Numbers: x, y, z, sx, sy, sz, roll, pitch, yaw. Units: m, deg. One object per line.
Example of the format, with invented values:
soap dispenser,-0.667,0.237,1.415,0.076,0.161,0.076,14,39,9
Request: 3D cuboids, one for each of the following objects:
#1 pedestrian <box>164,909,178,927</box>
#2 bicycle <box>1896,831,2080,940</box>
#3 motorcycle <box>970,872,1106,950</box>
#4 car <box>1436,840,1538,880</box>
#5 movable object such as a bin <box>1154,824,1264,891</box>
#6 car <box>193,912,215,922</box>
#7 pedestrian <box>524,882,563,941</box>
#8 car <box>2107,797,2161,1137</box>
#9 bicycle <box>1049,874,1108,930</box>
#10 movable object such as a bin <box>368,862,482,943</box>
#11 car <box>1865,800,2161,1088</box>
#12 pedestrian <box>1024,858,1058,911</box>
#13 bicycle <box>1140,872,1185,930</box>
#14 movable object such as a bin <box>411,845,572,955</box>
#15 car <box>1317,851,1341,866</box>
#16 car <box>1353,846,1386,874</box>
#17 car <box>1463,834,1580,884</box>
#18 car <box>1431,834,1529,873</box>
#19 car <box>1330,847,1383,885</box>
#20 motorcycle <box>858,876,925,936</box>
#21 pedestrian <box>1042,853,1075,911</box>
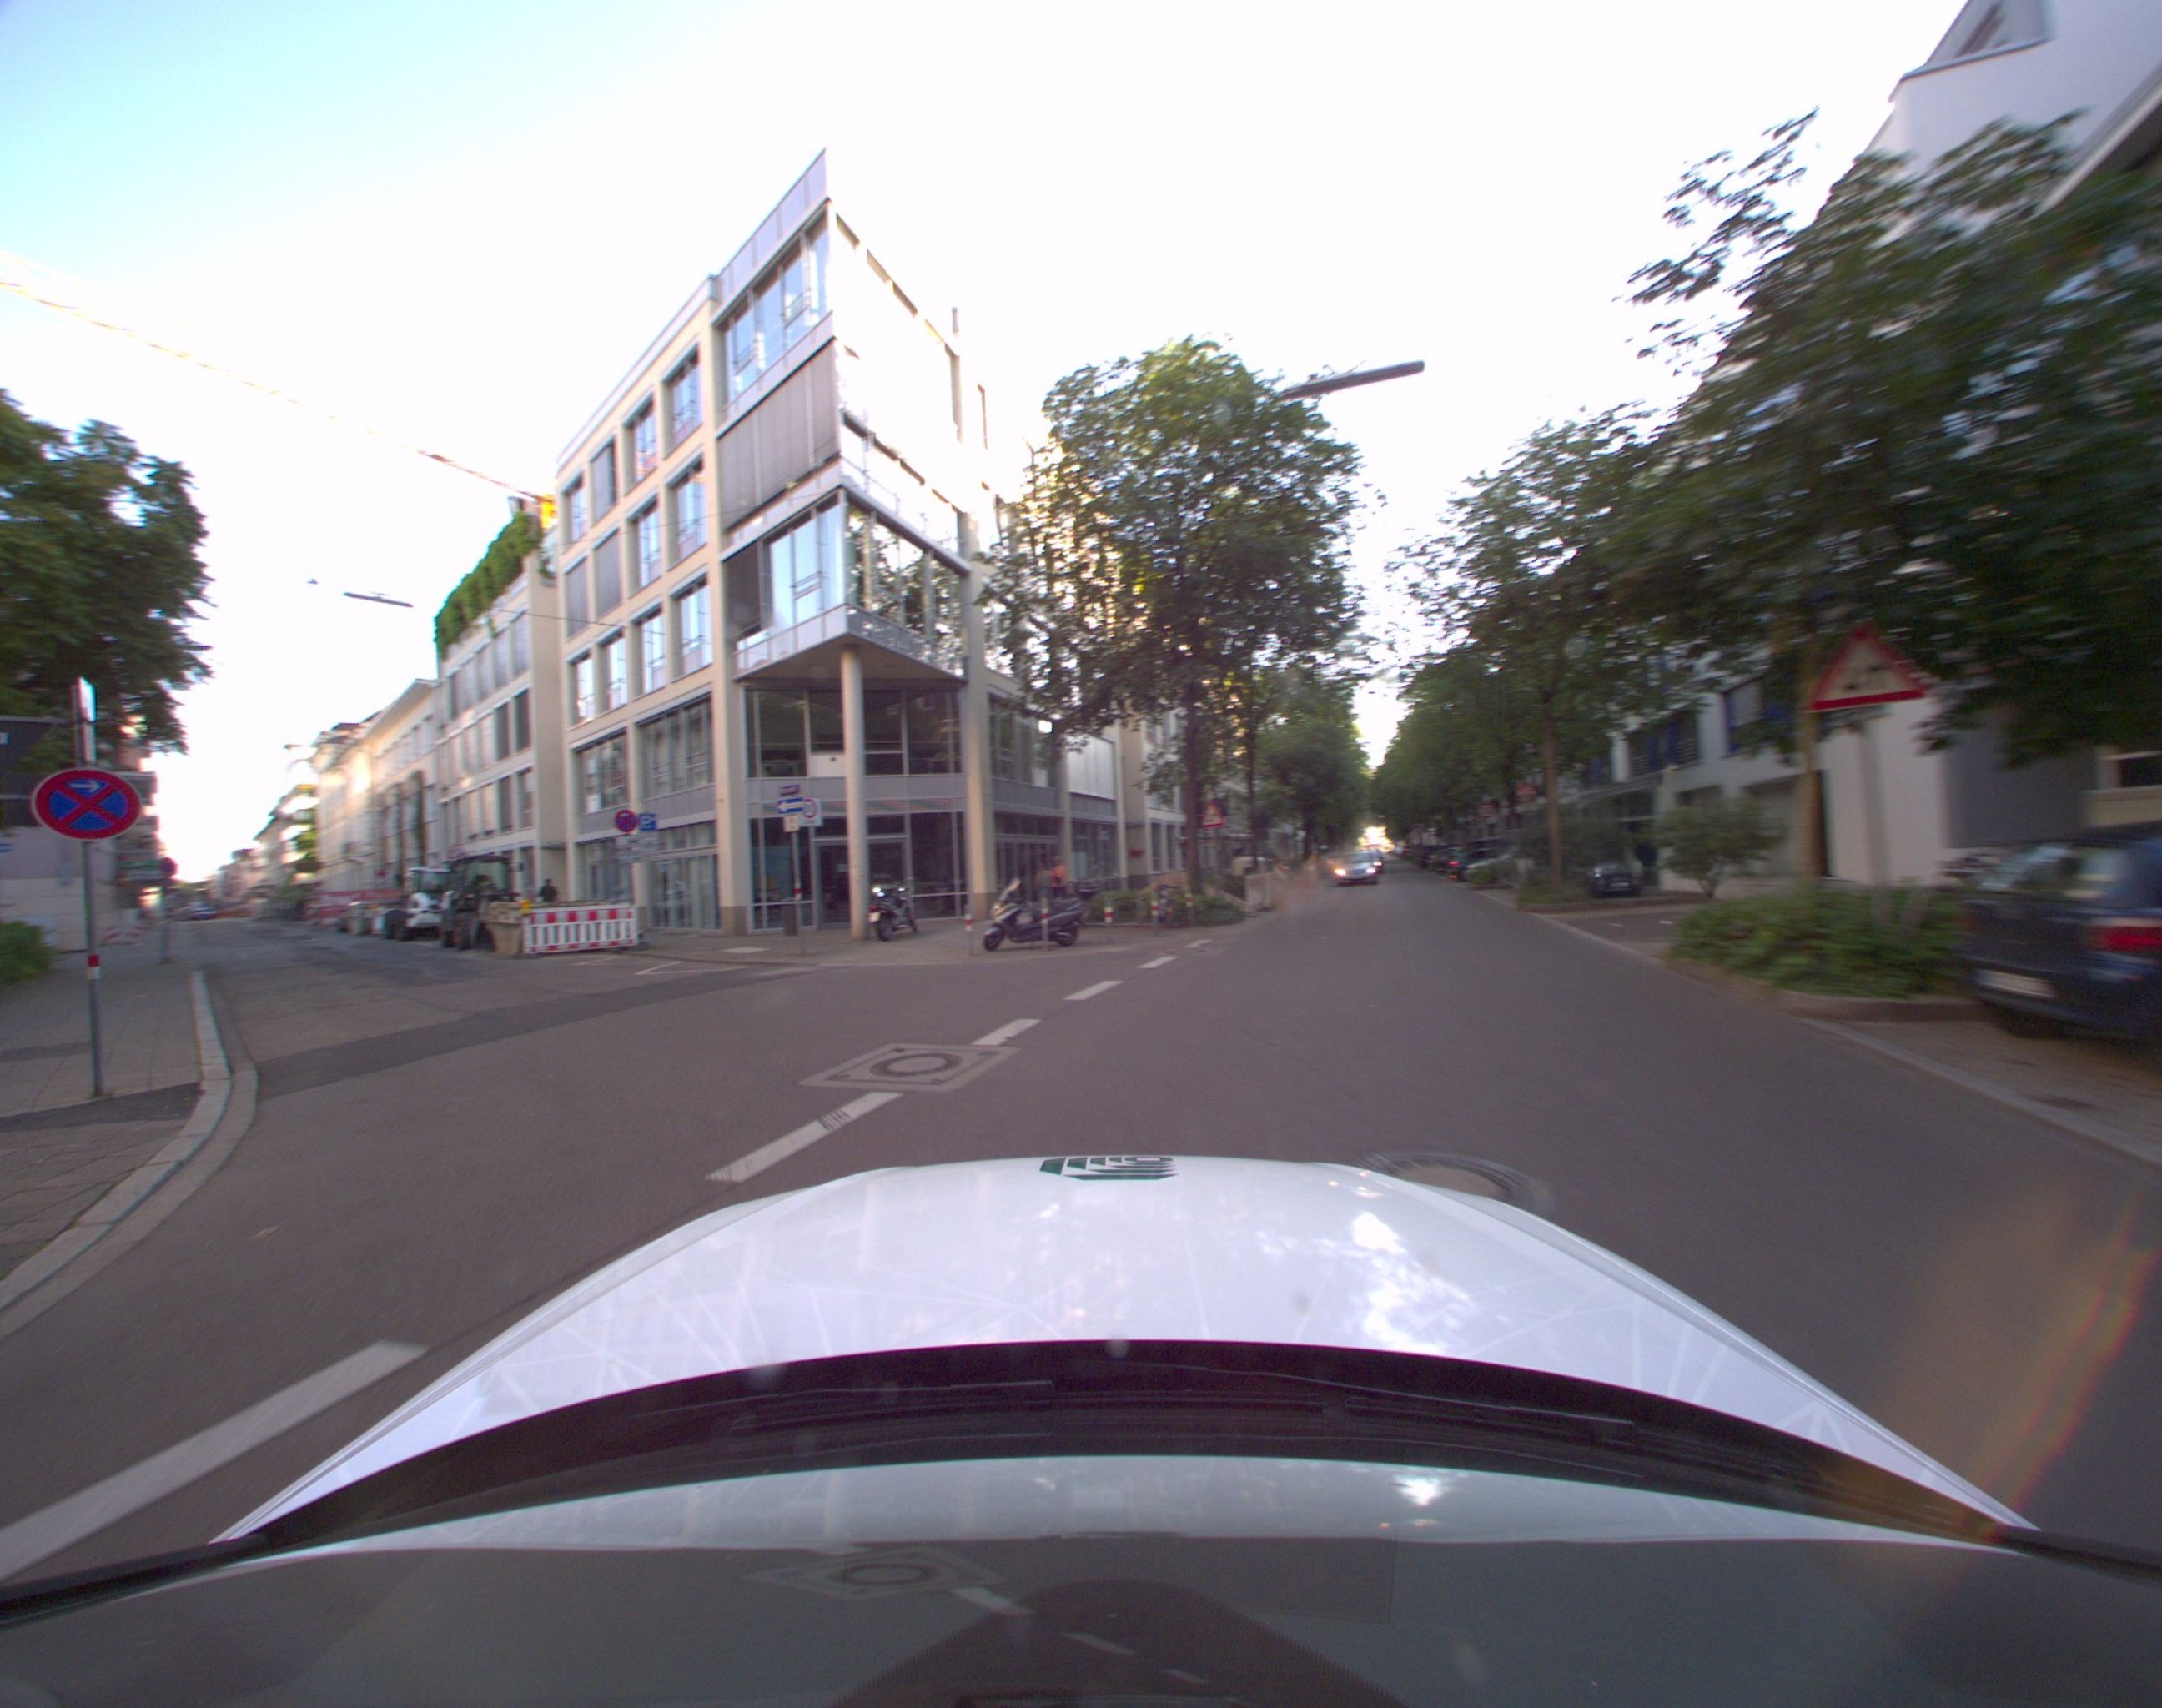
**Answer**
pedestrian,-85.430,5.988,76.474,0.735,1.661,0.804,-5,-3,45
bicycle,11.369,0.365,10.305,0.820,1.235,1.813,-3,0,23
motorcycle,-0.838,1.061,15.700,2.357,1.281,1.060,-3,0,-21
car,18.609,0.282,37.540,3.953,1.585,2.010,-3,-1,21
movable object such as a bin,5.219,0.132,32.897,4.017,2.383,2.795,-3,0,14
car,-105.266,7.552,97.713,3.081,1.134,1.551,-3,-1,38
pedestrian,-17.801,1.873,26.958,0.895,1.851,0.865,-2,-1,-41
car,6.861,0.435,2.265,4.584,1.571,2.021,-3,0,19
bicycle,-0.024,1.116,19.243,0.677,1.152,1.991,-3,0,20
movable object such as a bin,-23.155,1.662,28.703,4.045,2.540,2.299,-3,0,40
car,7.447,0.415,4.849,3.510,1.564,1.841,-3,-1,19
pedestrian,-1.211,0.909,24.606,0.763,1.536,0.646,-3,-1,19
bicycle,1.887,1.038,18.599,0.678,1.152,1.989,-3,0,14
movable object such as a bin,-16.661,1.253,22.890,5.575,2.692,2.299,-3,0,40
car,22.651,0.403,74.530,1.979,1.288,4.016,-3,0,15
car,19.645,0.396,55.404,1.933,1.714,4.726,-3,0,20
car,17.713,0.208,32.980,3.951,1.805,2.011,-3,-1,23
car,22.359,-0.019,45.836,4.700,2.013,2.010,-2,0,18
car,13.301,0.529,39.122,1.992,1.613,4.143,-3,0,23
motorcycle,-4.264,1.139,18.544,0.553,1.172,2.315,-3,0,10
pedestrian,-0.663,0.830,24.188,0.733,1.690,0.610,-3,-1,21
